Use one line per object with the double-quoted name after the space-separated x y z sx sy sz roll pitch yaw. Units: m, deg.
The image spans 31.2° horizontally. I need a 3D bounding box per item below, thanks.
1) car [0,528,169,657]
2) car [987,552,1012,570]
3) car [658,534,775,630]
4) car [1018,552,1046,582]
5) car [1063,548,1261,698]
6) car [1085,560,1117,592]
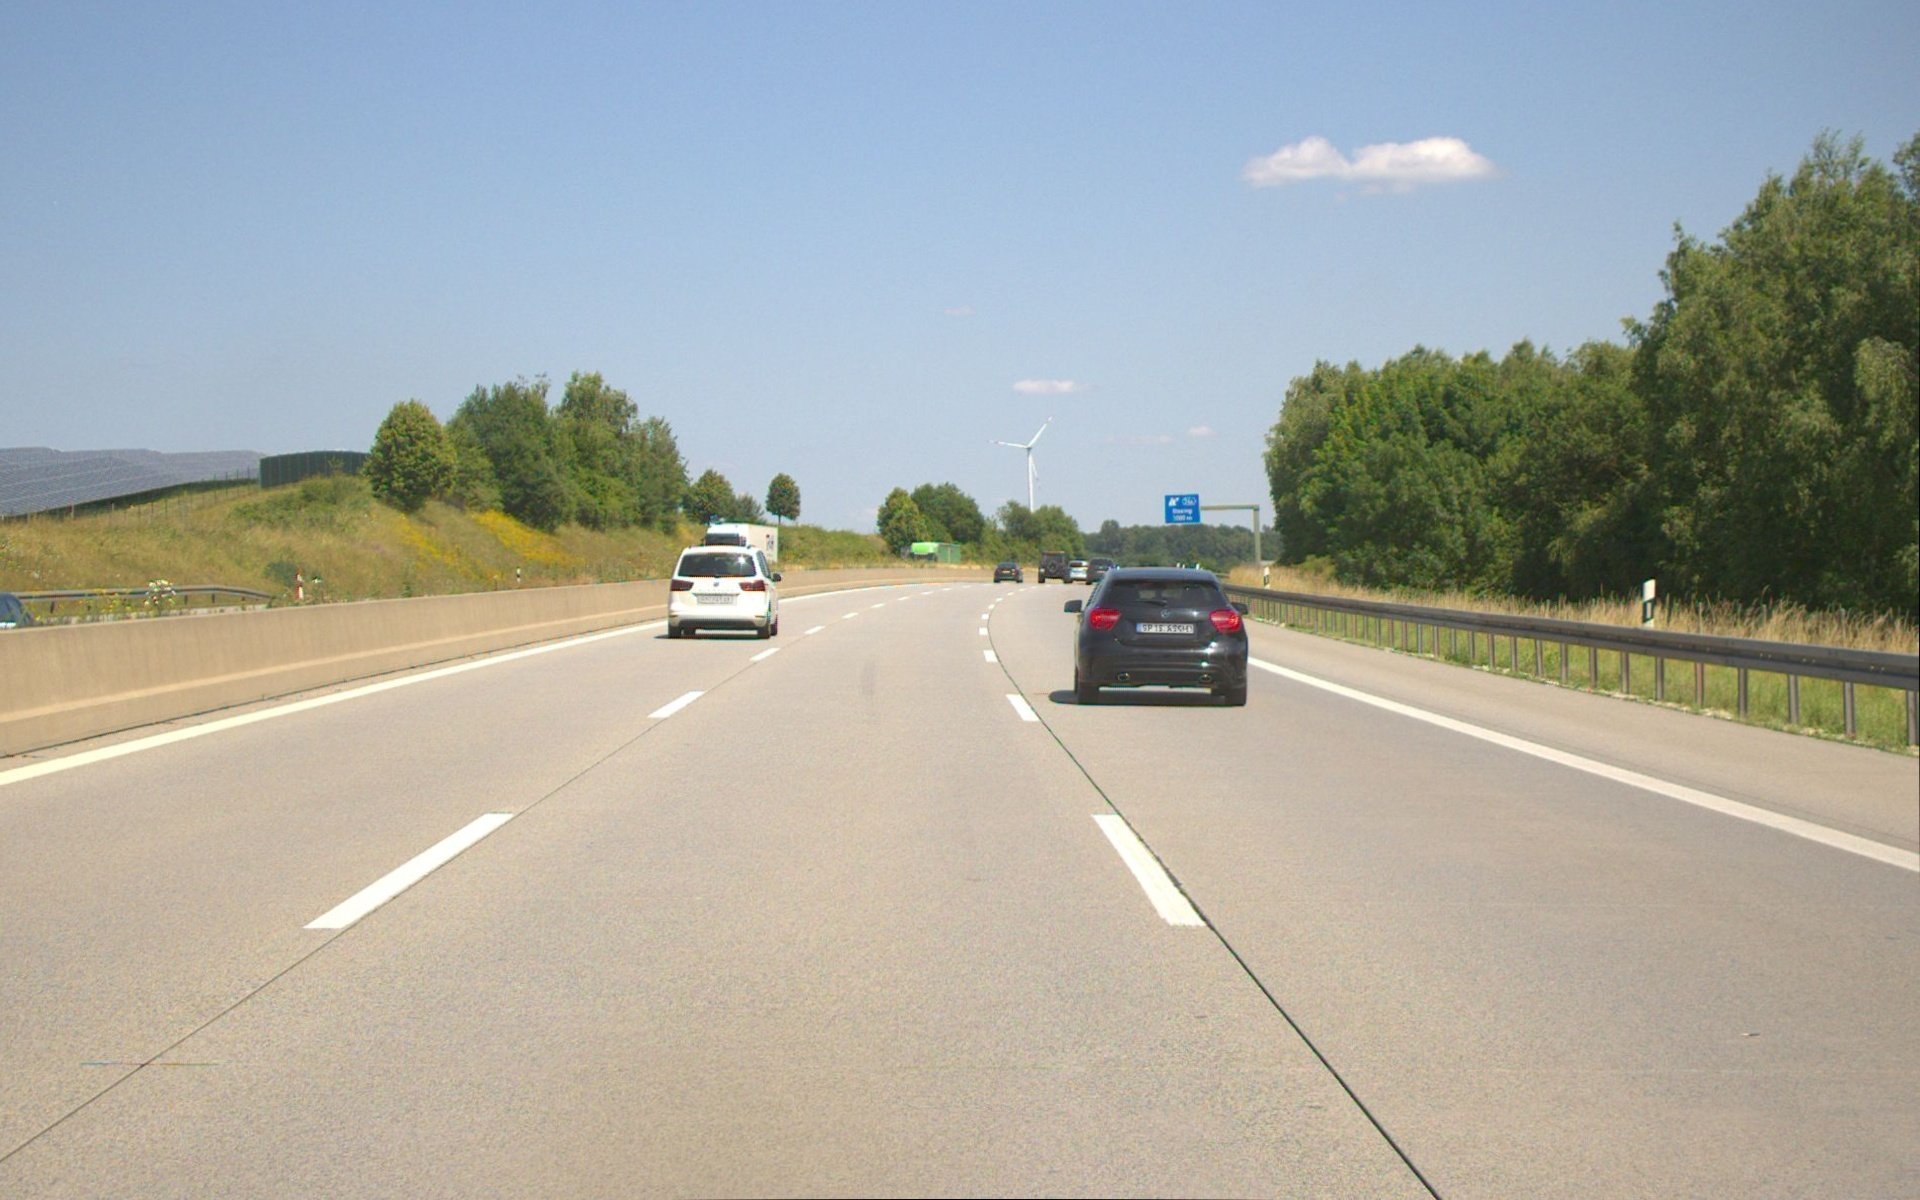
-12.518 -0.128 48.697 1.770 1.740 3.824 0 1 -1 "car"
2.770 -2.748 243.381 1.655 1.192 3.960 3 1 -1 "car"
-4.515 -0.347 64.457 1.845 1.702 6.036 0 1 -1 "car"
4.717 -2.160 224.280 1.827 1.931 3.809 0 1 1 "car"
2.117 0.201 37.086 1.910 1.487 4.192 1 1 1 "car"
8.484 -1.459 206.277 1.827 1.900 4.000 0 1 3 "car"
